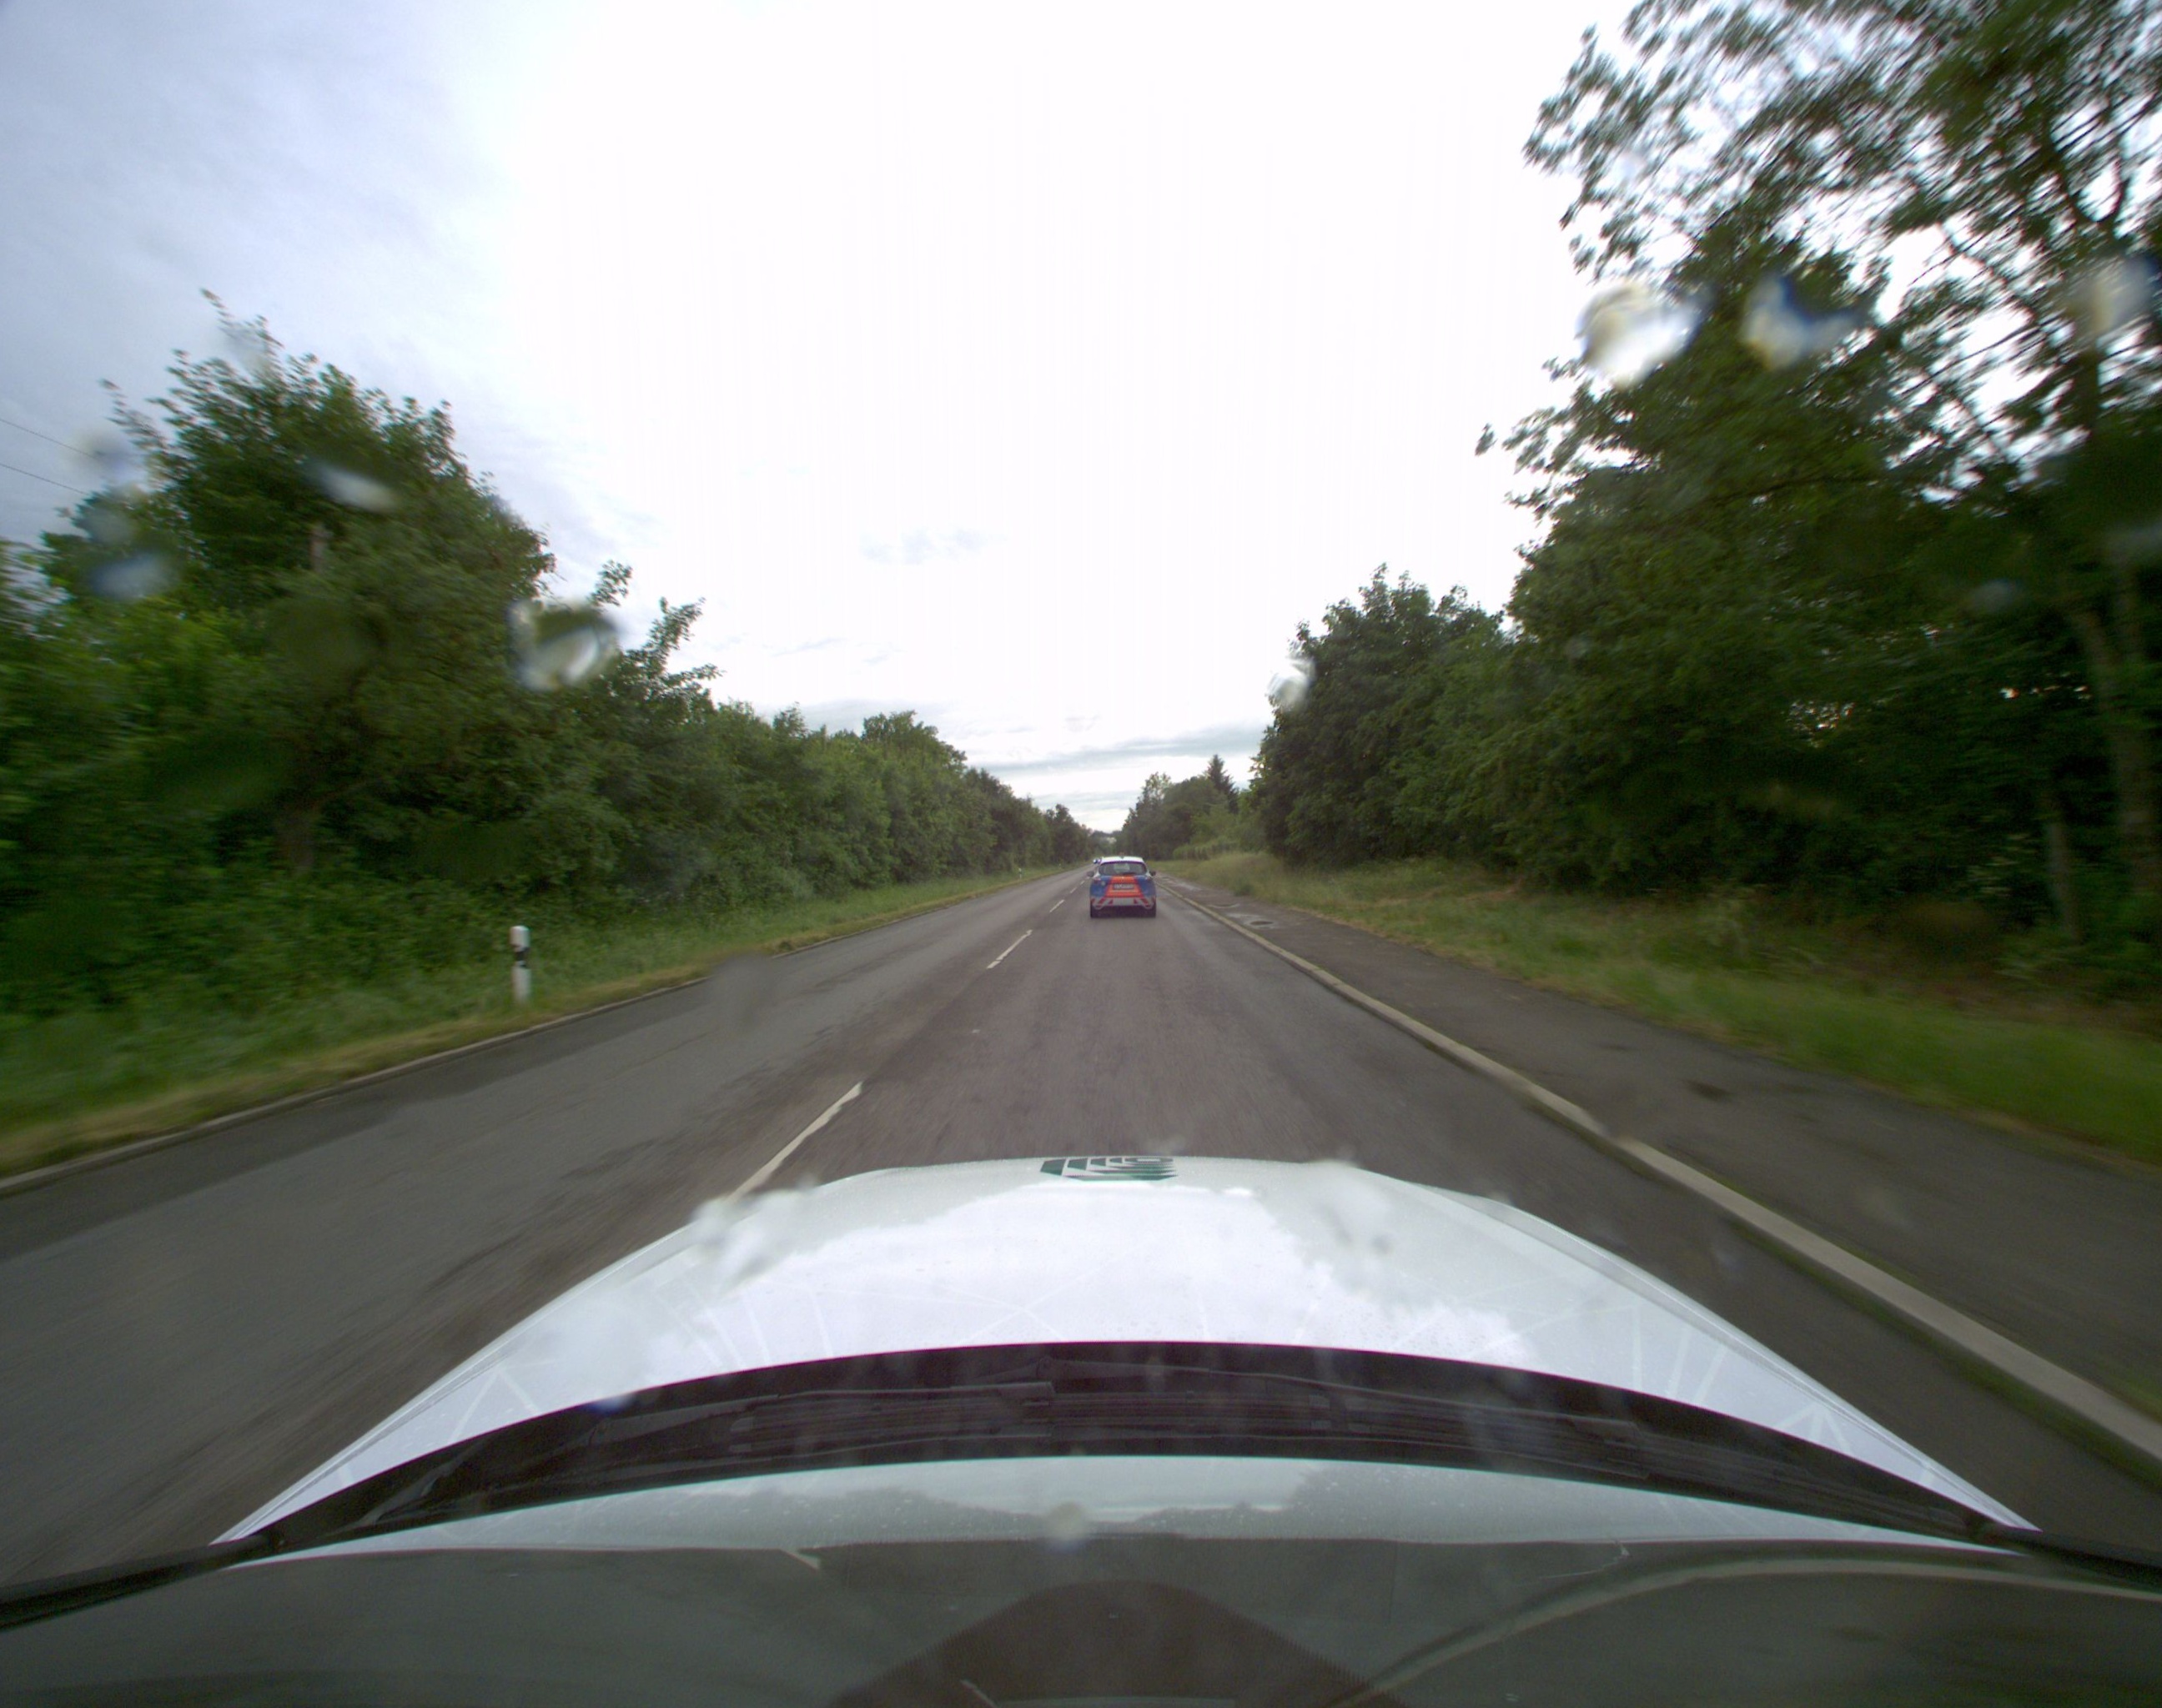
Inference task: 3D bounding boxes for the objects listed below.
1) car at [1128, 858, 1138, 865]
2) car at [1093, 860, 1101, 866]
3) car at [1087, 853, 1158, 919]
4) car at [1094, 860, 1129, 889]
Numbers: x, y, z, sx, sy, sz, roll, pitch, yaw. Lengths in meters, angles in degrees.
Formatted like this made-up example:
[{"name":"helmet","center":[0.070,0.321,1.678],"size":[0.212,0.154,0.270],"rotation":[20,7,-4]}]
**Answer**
[{"name":"car","center":[10.719,1.599,167.255],"size":[1.985,1.376,4.003],"rotation":[-3,-1,3]},{"name":"car","center":[4.401,2.444,222.479],"size":[1.898,1.556,4.517],"rotation":[-3,-1,2]},{"name":"car","center":[1.097,0.793,22.070],"size":[1.745,1.555,3.794],"rotation":[-1,0,2]},{"name":"car","center":[1.507,0.978,39.725],"size":[1.592,1.287,3.478],"rotation":[-3,0,3]}]
